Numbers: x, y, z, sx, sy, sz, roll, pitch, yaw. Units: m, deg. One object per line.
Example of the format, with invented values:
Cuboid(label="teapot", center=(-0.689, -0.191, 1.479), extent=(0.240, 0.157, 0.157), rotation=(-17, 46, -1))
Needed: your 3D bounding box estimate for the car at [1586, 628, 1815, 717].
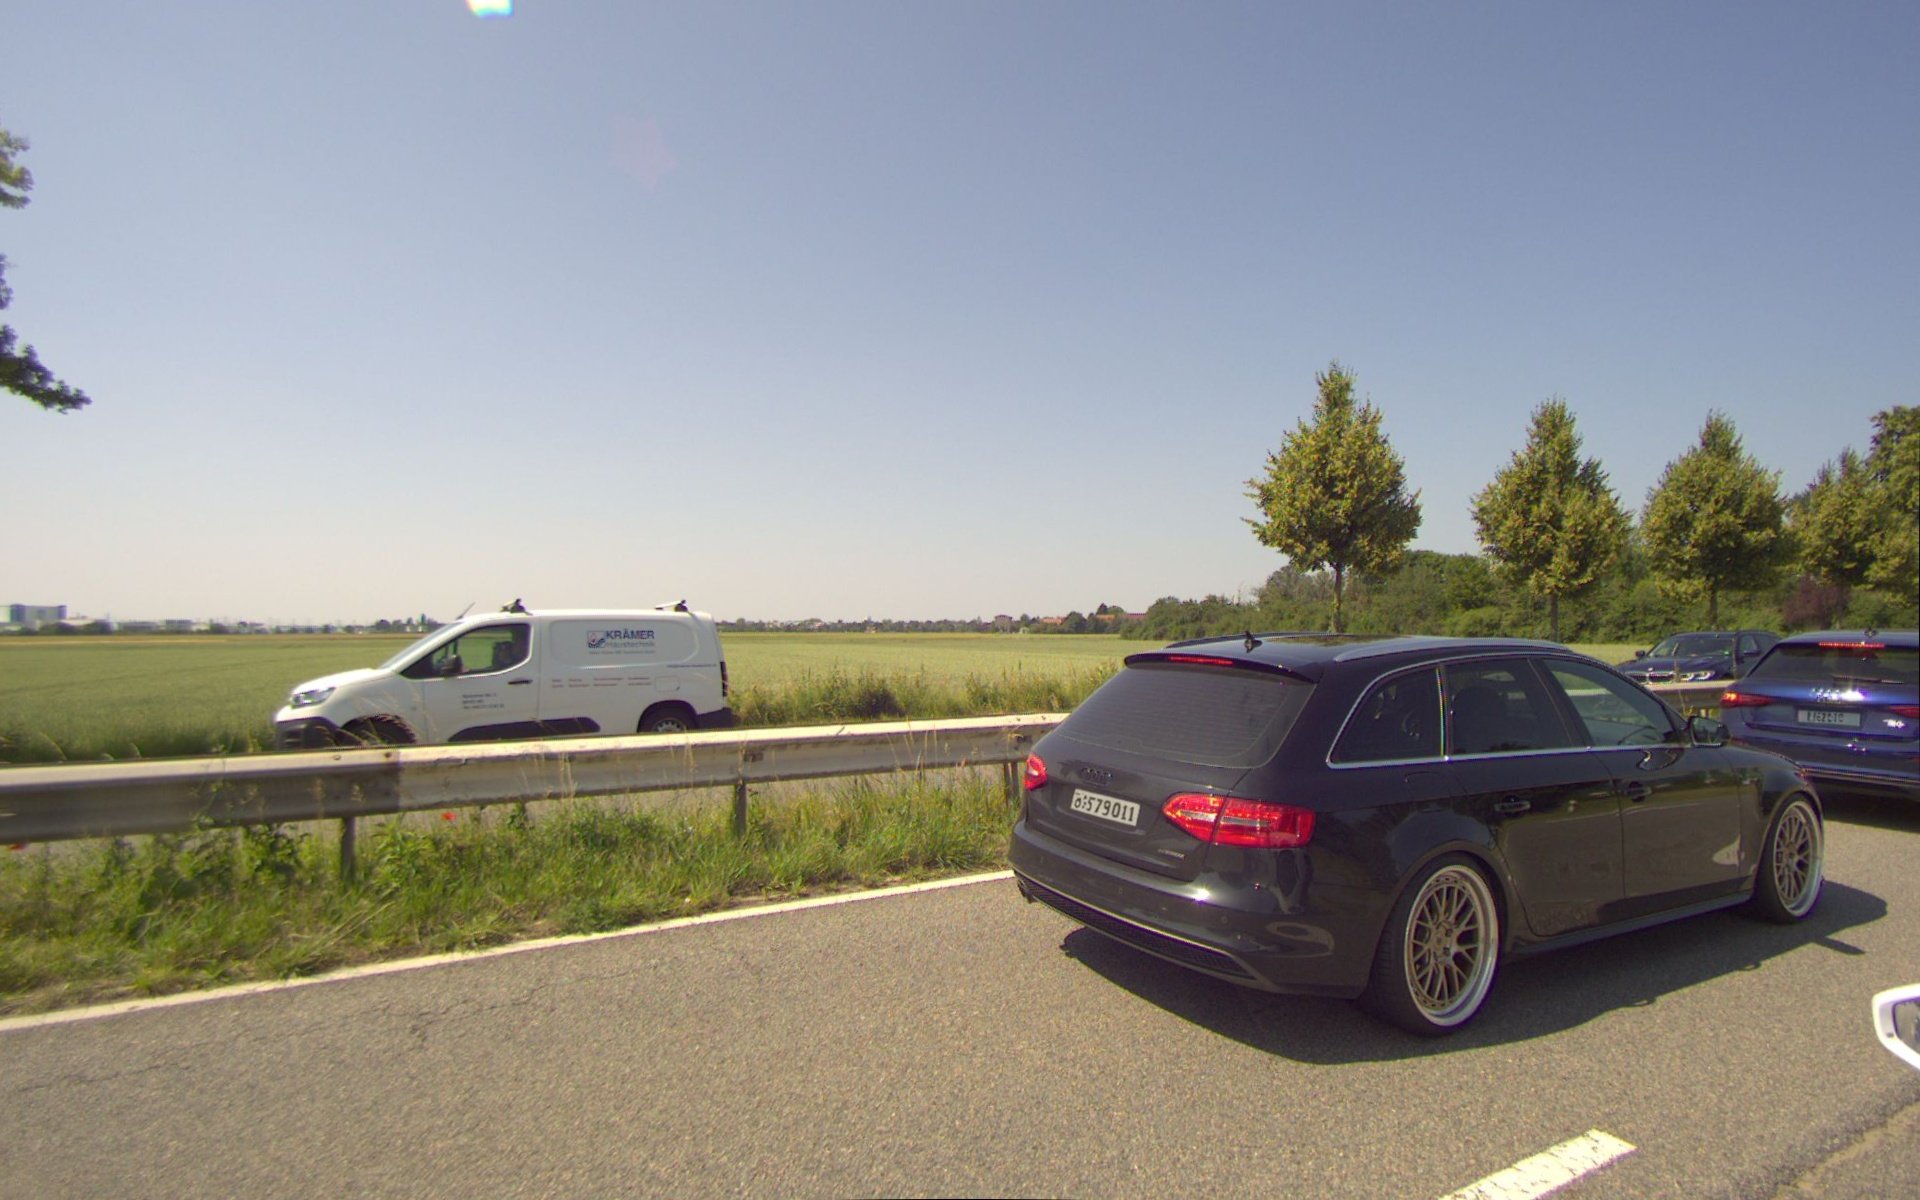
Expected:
Cuboid(label="car", center=(13.852, 1.268, 18.744), extent=(4.452, 1.473, 1.870), rotation=(1, -2, -31))

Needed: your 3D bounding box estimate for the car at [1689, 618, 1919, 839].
Cuboid(label="car", center=(7.996, 0.918, 8.336), extent=(3.983, 1.484, 1.709), rotation=(1, 0, -30))

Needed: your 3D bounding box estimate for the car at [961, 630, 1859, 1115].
Cuboid(label="car", center=(2.338, 0.868, 4.865), extent=(4.402, 1.399, 1.732), rotation=(1, 0, -30))

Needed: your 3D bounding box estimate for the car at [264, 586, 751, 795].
Cuboid(label="car", center=(-5.040, 0.919, 11.630), extent=(4.774, 1.977, 1.984), rotation=(1, -2, -31))
